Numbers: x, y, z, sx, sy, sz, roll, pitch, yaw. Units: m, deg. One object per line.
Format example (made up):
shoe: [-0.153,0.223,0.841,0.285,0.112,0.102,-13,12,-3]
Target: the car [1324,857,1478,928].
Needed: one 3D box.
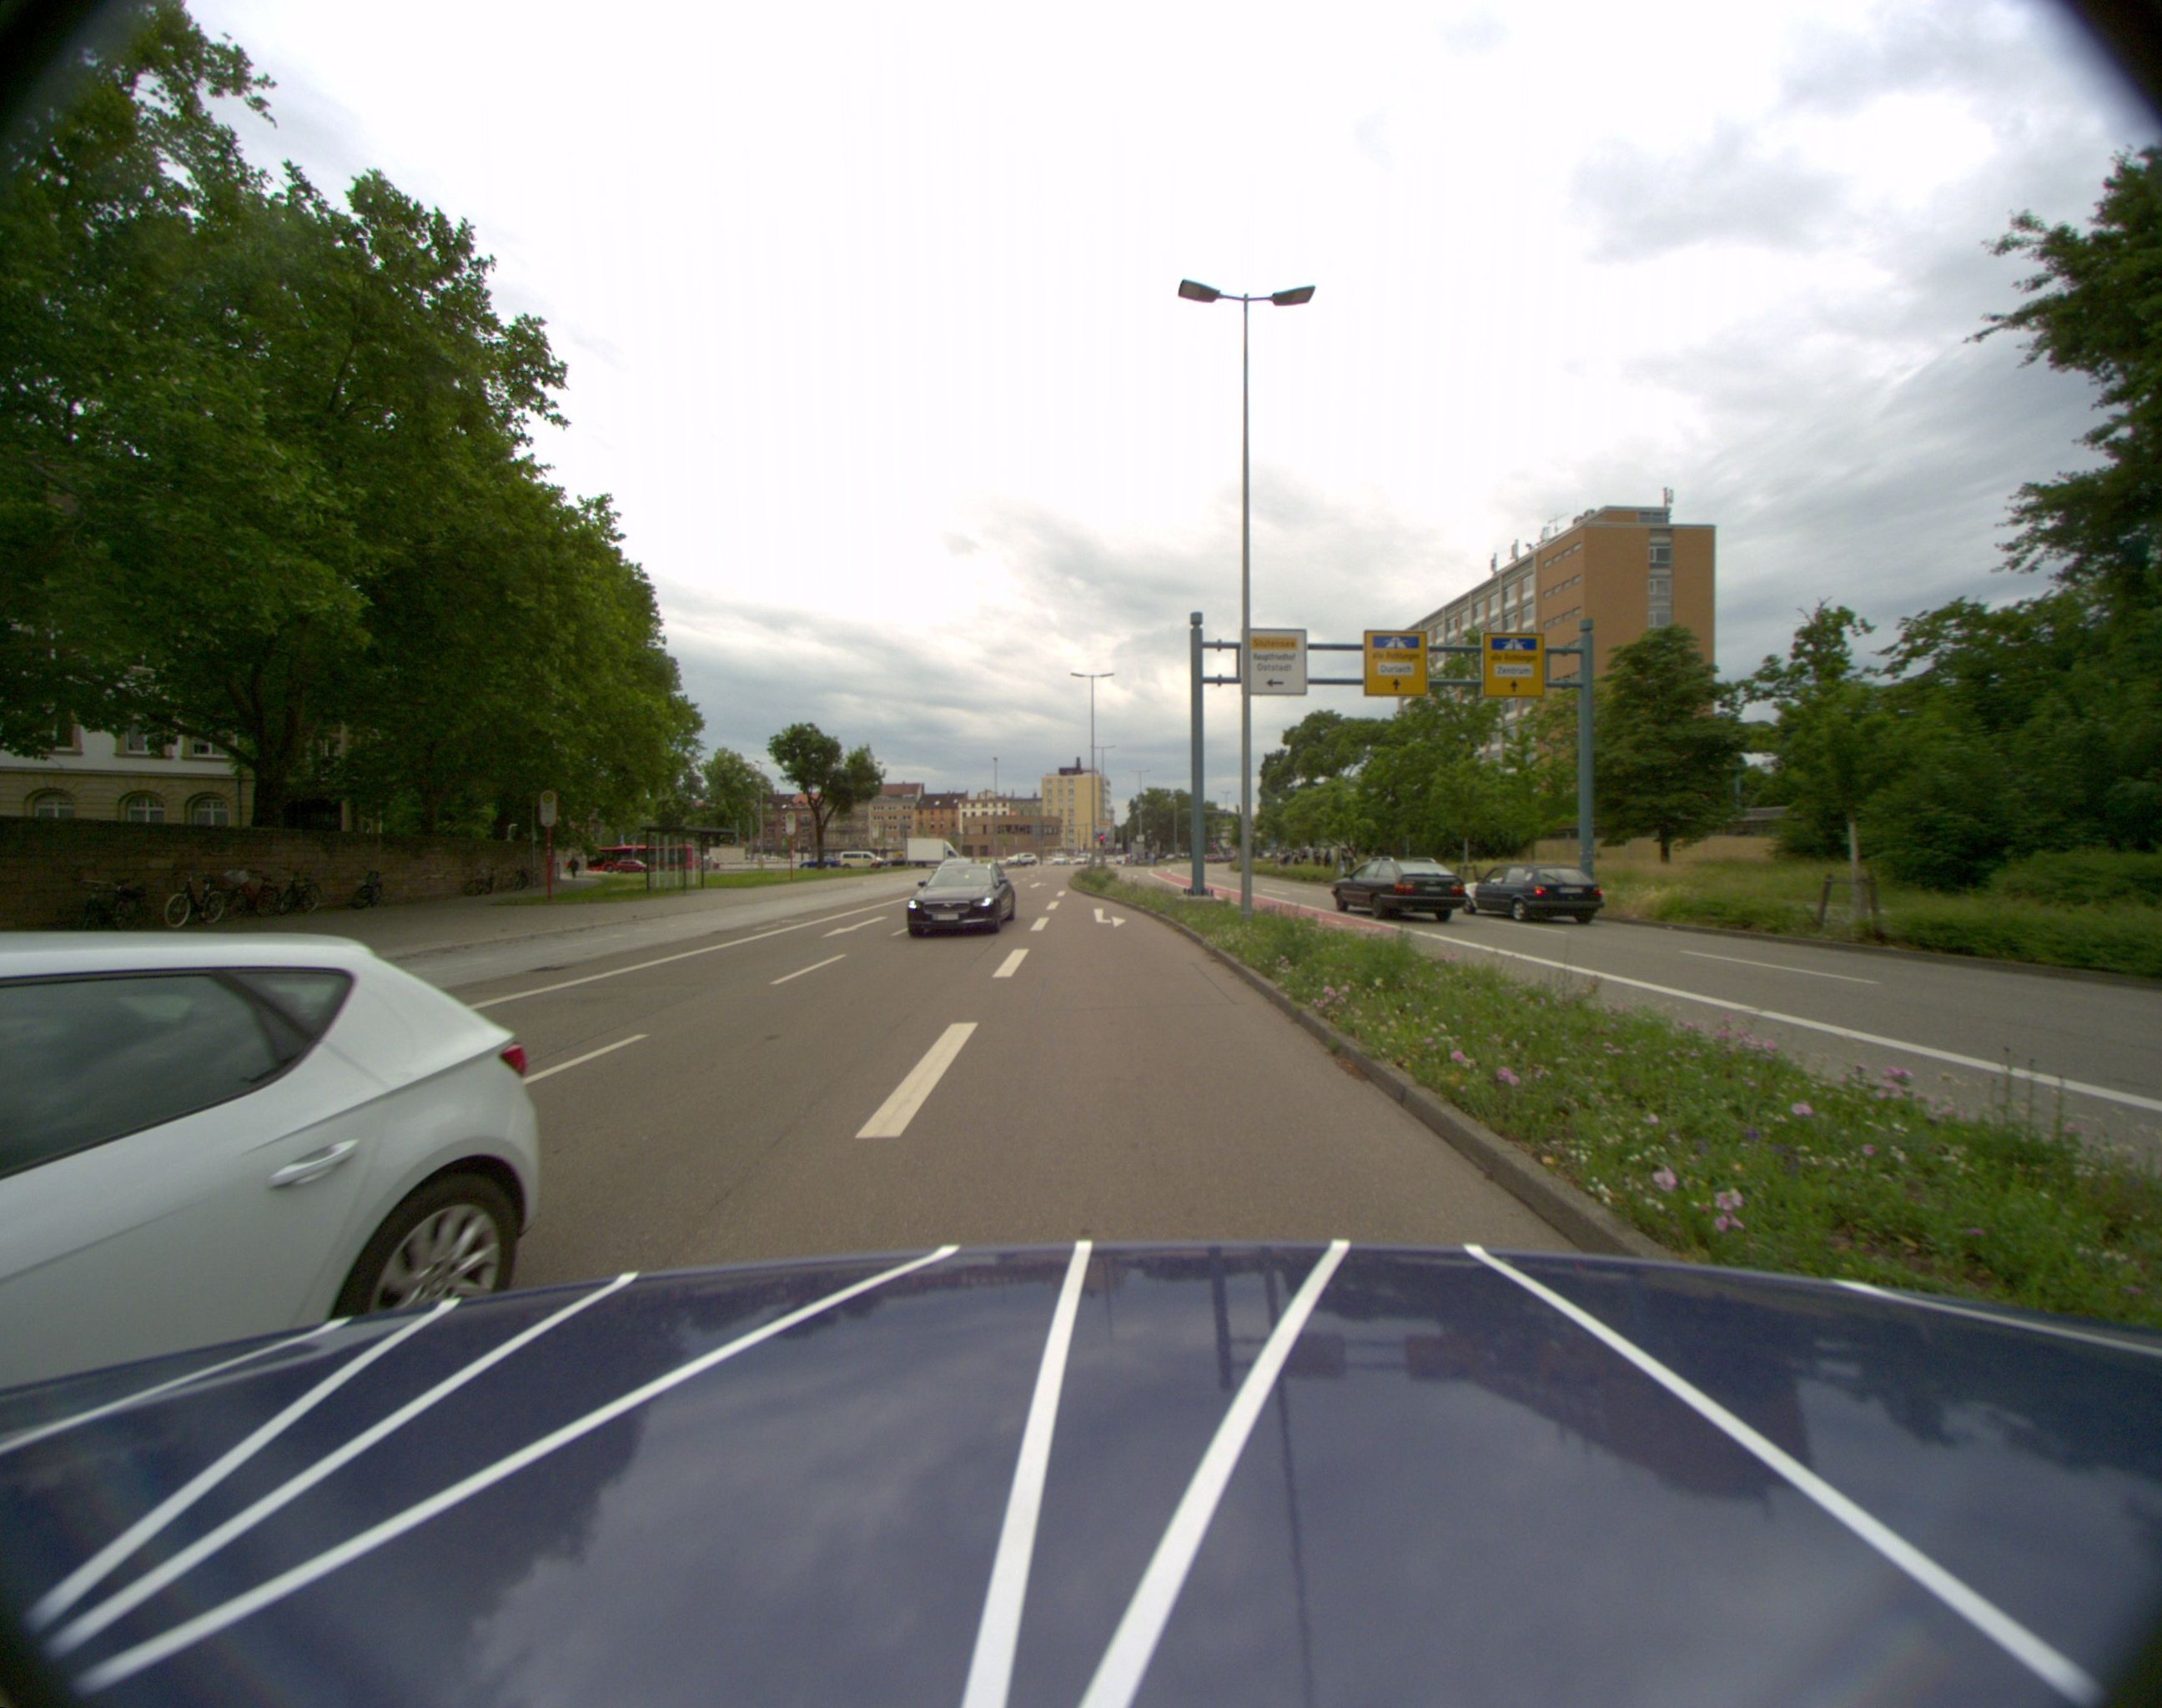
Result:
car: [7.696,0.843,18.863,1.768,1.452,4.791,1,1,0]

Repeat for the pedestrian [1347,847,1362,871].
pedestrian: [18.931,0.342,52.660,0.709,1.663,0.767,1,0,-5]

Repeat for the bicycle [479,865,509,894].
bicycle: [-24.278,1.055,31.439,0.596,1.123,1.709,1,0,-25]

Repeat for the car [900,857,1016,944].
car: [-2.602,0.919,17.155,1.888,1.591,4.446,-2,0,-1]

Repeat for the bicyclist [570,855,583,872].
bicyclist: [-53.678,1.027,80.837,0.896,1.849,0.764,1,0,-5]

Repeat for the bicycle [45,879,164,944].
bicycle: [-18.442,1.051,14.412,0.722,1.093,1.788,1,0,-28]

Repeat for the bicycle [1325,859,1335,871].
bicycle: [18.899,0.791,57.639,0.661,0.882,1.717,1,0,16]

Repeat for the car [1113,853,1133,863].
car: [6.606,0.681,120.091,1.837,1.465,3.718,1,0,26]

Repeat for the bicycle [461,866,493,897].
bicycle: [-23.667,1.069,29.814,0.596,1.129,1.709,1,0,-25]

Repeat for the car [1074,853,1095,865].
car: [0.563,0.760,114.775,1.835,1.753,3.917,1,0,19]

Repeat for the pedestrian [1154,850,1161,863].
pedestrian: [10.093,0.312,100.071,0.777,1.657,0.706,1,0,-8]

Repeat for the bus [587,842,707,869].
bus: [-50.718,0.183,88.957,12.091,2.891,2.937,-1,0,-3]

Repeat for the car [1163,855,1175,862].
car: [17.938,0.978,154.907,1.782,1.255,3.536,-1,1,19]

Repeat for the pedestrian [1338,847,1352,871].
pedestrian: [18.248,0.338,52.527,0.587,1.650,0.720,1,0,-5]

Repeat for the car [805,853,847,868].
car: [-30.189,0.796,89.958,4.429,1.735,1.764,1,0,-3]

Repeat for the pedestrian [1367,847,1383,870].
pedestrian: [17.686,0.273,45.662,0.646,1.350,0.711,1,0,-1]

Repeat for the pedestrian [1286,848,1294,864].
pedestrian: [22.934,0.231,83.401,0.638,1.790,0.762,-1,0,4]

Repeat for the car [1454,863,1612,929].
car: [10.883,0.946,18.626,1.612,1.373,3.808,1,0,1]

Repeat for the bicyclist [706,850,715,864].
bicyclist: [-39.970,0.363,81.958,0.740,1.499,0.767,1,0,-10]

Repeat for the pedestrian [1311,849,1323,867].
pedestrian: [21.444,0.367,69.136,0.635,1.603,0.829,-2,0,-21]

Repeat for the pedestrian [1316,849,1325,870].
pedestrian: [18.159,0.411,57.640,0.575,1.599,0.617,1,0,16]

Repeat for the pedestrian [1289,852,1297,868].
pedestrian: [20.426,0.594,73.196,0.637,1.471,0.762,1,0,4]

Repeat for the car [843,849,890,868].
car: [-23.975,0.466,85.165,4.712,1.909,1.919,-1,3,-3]

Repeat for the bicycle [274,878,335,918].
bicycle: [-20.091,1.117,19.678,0.417,0.937,1.523,1,0,-17]

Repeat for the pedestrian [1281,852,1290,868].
pedestrian: [19.700,0.588,73.250,0.730,1.471,0.813,1,0,4]

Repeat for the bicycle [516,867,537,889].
bicycle: [-26.364,1.123,36.142,0.552,0.986,1.633,1,0,-28]

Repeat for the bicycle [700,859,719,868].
bicycle: [-40.019,0.990,81.948,1.695,0.910,0.767,1,0,-10]

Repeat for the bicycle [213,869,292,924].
bicycle: [-19.580,0.979,17.993,0.501,1.214,1.624,1,0,-17]

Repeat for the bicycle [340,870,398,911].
bicycle: [-20.535,1.047,21.961,0.599,1.098,1.652,1,0,-19]

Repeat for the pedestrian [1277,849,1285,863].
pedestrian: [23.187,0.208,87.888,0.708,1.661,0.943,-1,0,4]

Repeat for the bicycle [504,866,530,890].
bicycle: [-25.652,1.085,34.571,0.596,1.053,1.709,1,0,-25]

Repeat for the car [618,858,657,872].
car: [-49.074,1.206,84.038,3.431,1.372,1.288,-1,-7,-5]

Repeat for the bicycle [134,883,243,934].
bicycle: [-19.032,1.136,16.255,0.656,0.945,1.767,1,0,-17]

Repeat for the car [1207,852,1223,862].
car: [22.914,0.561,130.229,1.812,1.657,3.955,1,1,23]

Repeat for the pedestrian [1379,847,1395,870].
pedestrian: [18.407,0.265,45.774,0.646,1.354,0.680,1,0,-2]

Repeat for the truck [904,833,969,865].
truck: [-16.240,-0.572,85.715,6.852,3.393,2.559,-1,2,-5]

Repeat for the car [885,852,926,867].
car: [-20.664,0.627,89.542,4.282,1.628,1.690,1,0,2]

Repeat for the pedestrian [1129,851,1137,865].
pedestrian: [6.839,0.541,99.716,0.917,1.794,0.541,1,0,17]

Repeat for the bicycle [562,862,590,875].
bicycle: [-53.754,1.563,80.830,2.391,1.316,0.764,1,0,-6]

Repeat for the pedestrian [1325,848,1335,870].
pedestrian: [18.904,0.391,57.631,0.661,1.622,0.764,1,0,16]

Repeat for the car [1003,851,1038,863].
car: [-7.570,0.350,95.285,1.815,1.466,4.041,1,0,44]

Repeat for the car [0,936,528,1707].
car: [-2.785,1.040,0.636,1.786,1.454,3.870,-1,0,0]

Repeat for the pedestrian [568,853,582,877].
pedestrian: [-36.344,0.770,54.557,0.759,1.725,0.820,1,1,-39]

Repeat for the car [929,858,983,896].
car: [-5.351,0.957,32.849,1.671,1.457,3.659,-1,1,0]

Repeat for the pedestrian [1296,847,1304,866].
pedestrian: [19.262,0.217,66.923,0.622,1.685,0.747,1,0,18]

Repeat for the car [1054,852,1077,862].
car: [-2.122,0.422,103.396,1.515,1.382,3.438,1,0,29]

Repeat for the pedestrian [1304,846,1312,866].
pedestrian: [19.948,0.198,66.722,0.579,1.702,0.763,1,0,17]
